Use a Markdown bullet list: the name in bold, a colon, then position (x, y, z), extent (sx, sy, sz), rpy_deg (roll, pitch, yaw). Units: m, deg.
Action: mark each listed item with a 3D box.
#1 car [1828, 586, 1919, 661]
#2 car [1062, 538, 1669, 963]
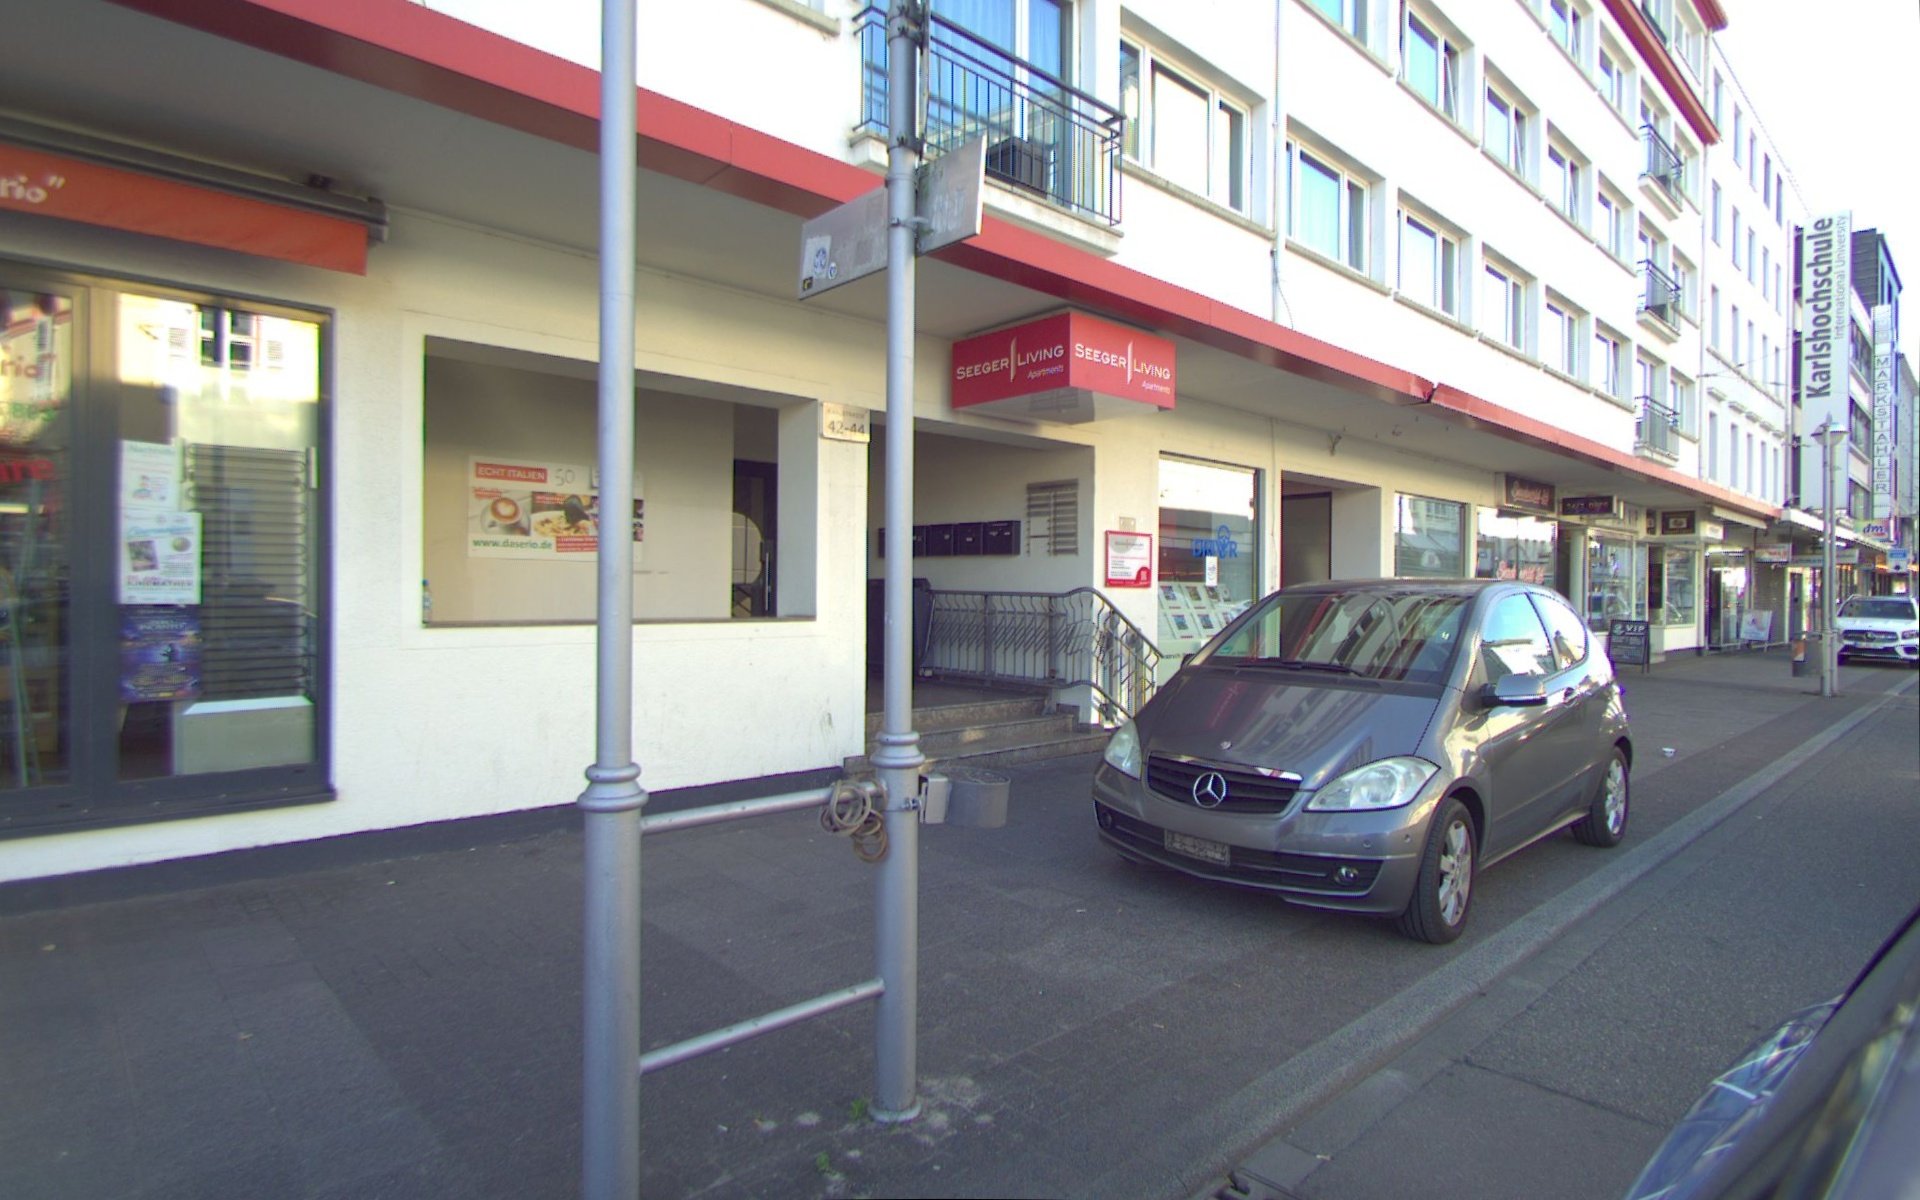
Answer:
- **car**: position (22.388, 0.516, 24.344), extent (1.994, 1.650, 3.935), rpy_deg (1, 1, 45)
- **car**: position (2.503, 0.556, 5.702), extent (3.932, 1.565, 1.681), rpy_deg (0, 0, -43)
